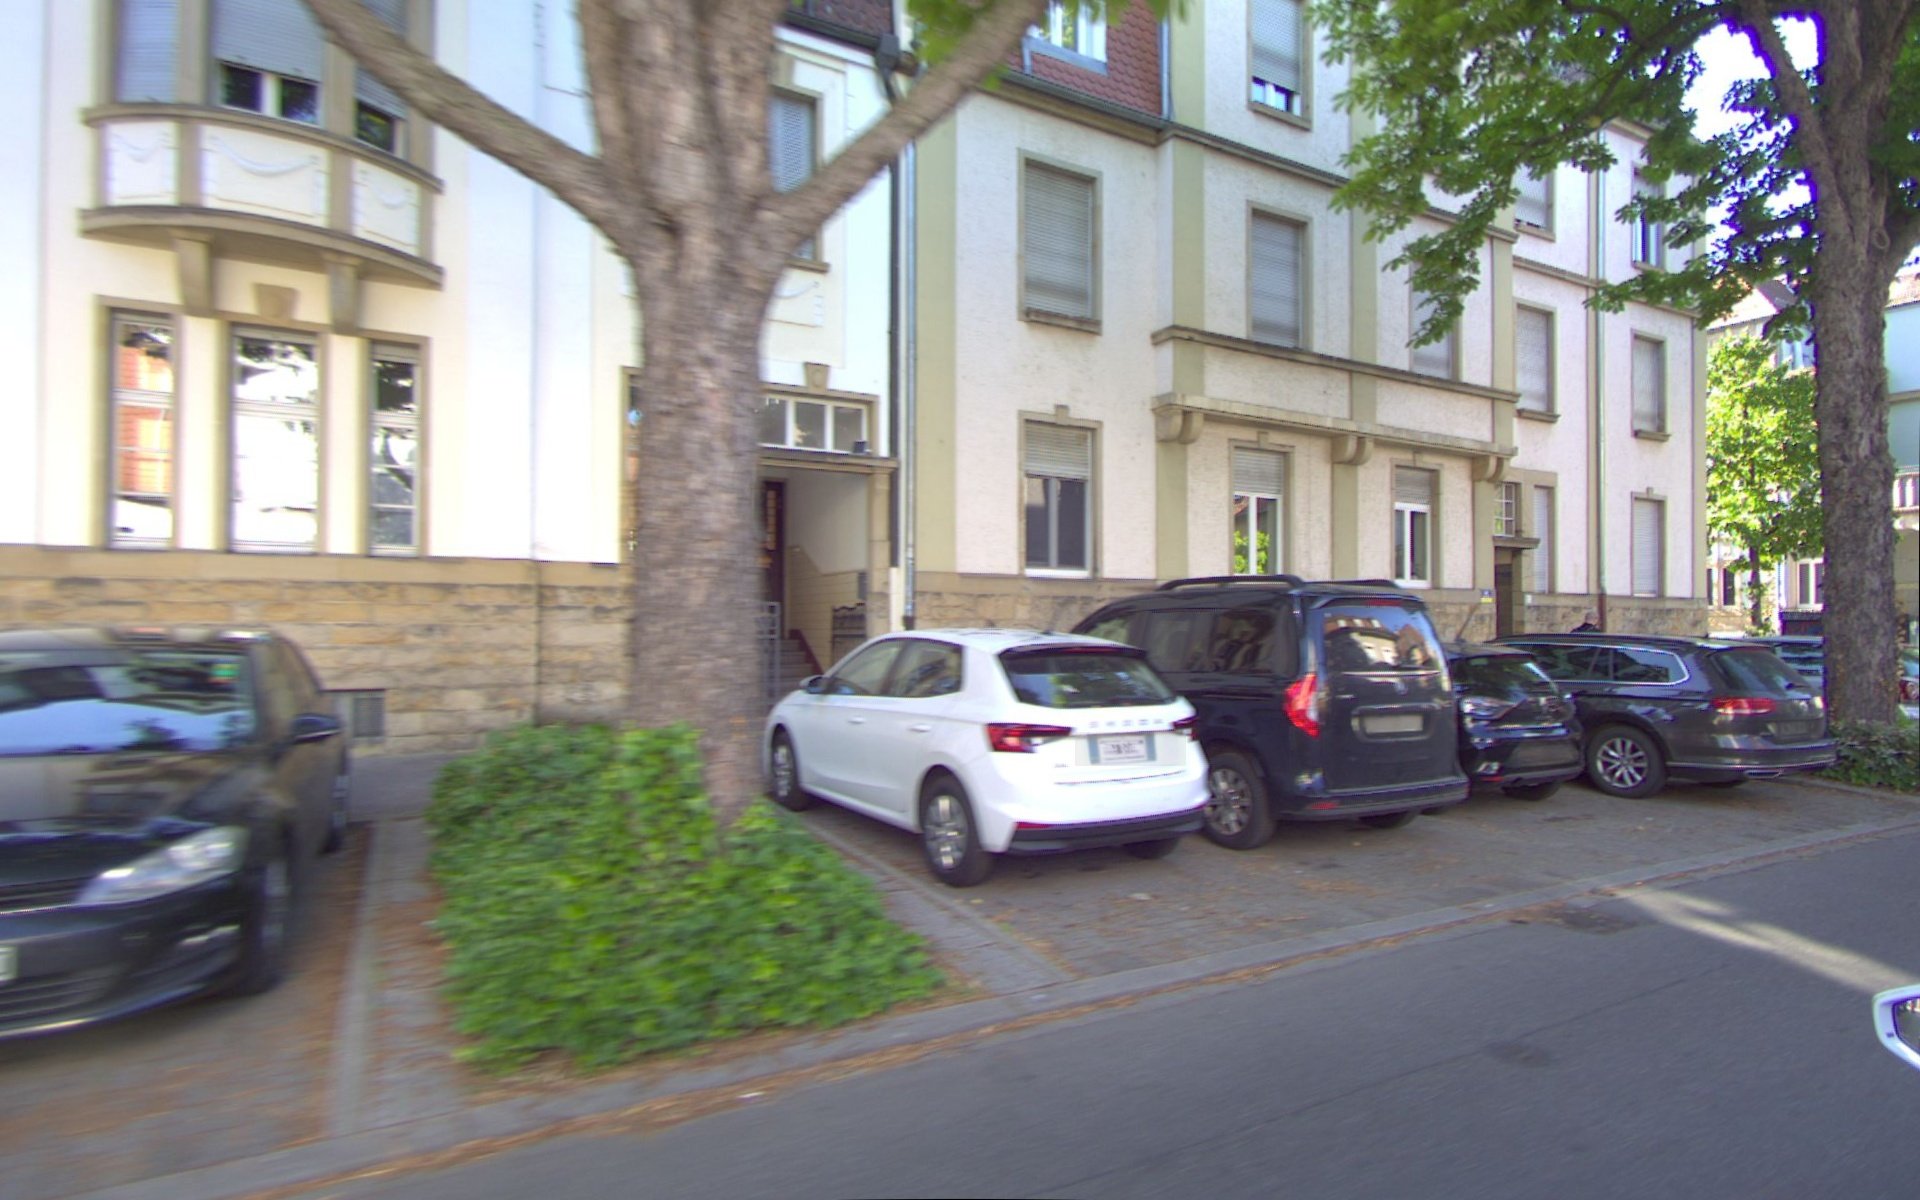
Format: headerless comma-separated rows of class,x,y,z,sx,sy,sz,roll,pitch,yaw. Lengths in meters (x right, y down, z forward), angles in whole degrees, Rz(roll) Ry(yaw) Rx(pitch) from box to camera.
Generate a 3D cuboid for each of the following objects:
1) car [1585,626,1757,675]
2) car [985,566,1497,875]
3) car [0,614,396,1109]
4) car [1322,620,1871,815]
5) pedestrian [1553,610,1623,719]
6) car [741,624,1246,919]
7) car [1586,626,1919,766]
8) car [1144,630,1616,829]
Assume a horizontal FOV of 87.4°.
car,23.515,1.626,33.407,1.779,1.484,4.389,1,-2,-28
car,2.002,0.776,8.294,1.807,1.880,3.961,1,-1,-30
car,-3.949,0.828,4.751,1.833,1.465,3.892,1,0,-24
car,6.227,0.998,10.461,1.869,1.523,4.511,1,-1,-30
pedestrian,9.996,1.003,15.990,0.822,1.681,0.629,1,-1,-29
car,-0.057,0.929,7.267,1.723,1.467,3.965,1,-1,-32
car,10.455,1.116,13.039,1.621,1.507,3.658,1,-1,-29
car,3.804,1.047,9.778,1.808,1.456,3.959,1,-1,-31
